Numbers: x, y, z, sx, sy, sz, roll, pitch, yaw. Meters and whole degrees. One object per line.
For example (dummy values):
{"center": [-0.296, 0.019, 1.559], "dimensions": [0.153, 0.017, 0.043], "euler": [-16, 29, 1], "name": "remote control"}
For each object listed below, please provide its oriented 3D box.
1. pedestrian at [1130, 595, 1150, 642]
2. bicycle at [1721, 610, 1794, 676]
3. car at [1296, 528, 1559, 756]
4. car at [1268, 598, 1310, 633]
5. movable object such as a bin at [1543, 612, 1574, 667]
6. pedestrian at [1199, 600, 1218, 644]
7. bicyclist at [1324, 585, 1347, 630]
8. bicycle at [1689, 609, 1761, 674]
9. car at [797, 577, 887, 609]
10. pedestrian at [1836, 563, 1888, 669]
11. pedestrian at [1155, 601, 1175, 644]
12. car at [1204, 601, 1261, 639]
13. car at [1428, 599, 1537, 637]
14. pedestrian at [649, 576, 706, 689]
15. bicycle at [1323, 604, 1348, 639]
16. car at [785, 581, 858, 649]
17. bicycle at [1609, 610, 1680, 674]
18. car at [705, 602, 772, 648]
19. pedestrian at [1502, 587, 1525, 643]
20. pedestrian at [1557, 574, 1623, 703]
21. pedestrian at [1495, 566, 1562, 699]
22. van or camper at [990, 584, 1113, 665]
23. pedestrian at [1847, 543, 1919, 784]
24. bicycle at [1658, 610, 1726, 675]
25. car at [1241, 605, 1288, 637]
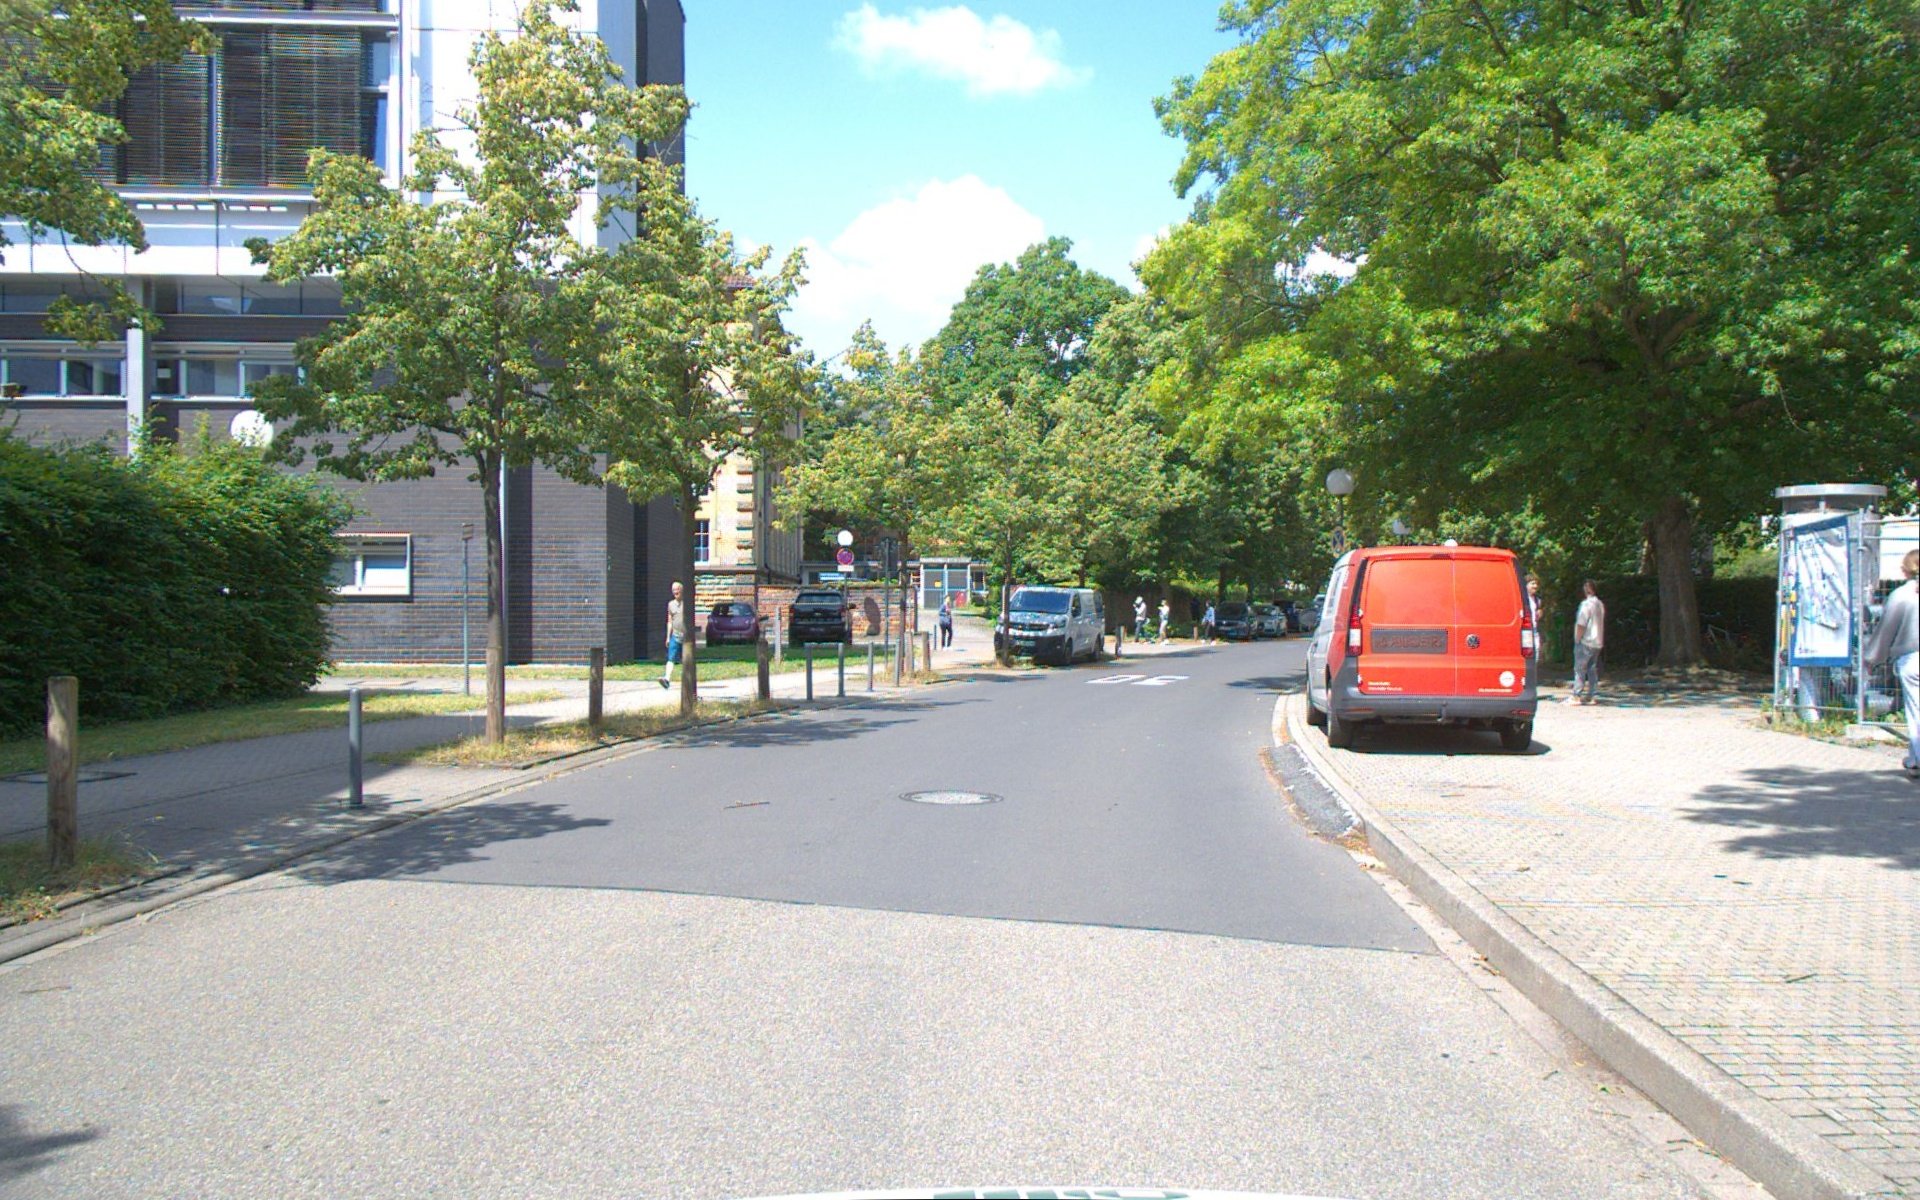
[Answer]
{"center": [6.534, 0.683, 60.081], "dimensions": [0.614, 1.692, 0.602], "euler": [0, 0, -5], "name": "pedestrian"}
{"center": [14.271, 0.746, 29.643], "dimensions": [0.488, 1.138, 1.872], "euler": [0, 0, 3], "name": "bicycle"}
{"center": [4.457, 0.363, 16.488], "dimensions": [1.809, 1.924, 4.894], "euler": [-1, 0, 7], "name": "car"}
{"center": [16.650, 0.761, 83.574], "dimensions": [1.582, 1.708, 4.002], "euler": [0, 0, 18], "name": "car"}
{"center": [12.153, 0.800, 33.605], "dimensions": [0.479, 1.091, 0.505], "euler": [0, 0, 5], "name": "movable object such as a bin"}
{"center": [9.112, 0.805, 60.747], "dimensions": [0.489, 1.613, 0.488], "euler": [0, 0, -33], "name": "pedestrian"}
{"center": [11.052, 0.225, 48.653], "dimensions": [0.596, 1.318, 0.611], "euler": [0, 0, 18], "name": "bicyclist"}
{"center": [13.754, 0.731, 29.777], "dimensions": [0.488, 1.138, 1.937], "euler": [0, 0, 3], "name": "bicycle"}
{"center": [-5.685, -0.336, 79.709], "dimensions": [4.027, 1.543, 1.746], "euler": [0, 0, -20], "name": "car"}
{"center": [16.002, 0.282, 29.354], "dimensions": [0.531, 1.869, 0.762], "euler": [0, 0, 4], "name": "pedestrian"}
{"center": [7.303, 0.800, 58.912], "dimensions": [0.574, 1.554, 0.492], "euler": [0, 0, -14], "name": "pedestrian"}
{"center": [11.262, 0.802, 68.158], "dimensions": [1.723, 1.548, 4.113], "euler": [0, 0, 18], "name": "car"}
{"center": [22.579, 0.780, 71.434], "dimensions": [4.392, 1.552, 1.811], "euler": [-1, -1, 20], "name": "car"}
{"center": [-4.559, 0.519, 26.732], "dimensions": [0.571, 1.795, 0.912], "euler": [0, 0, 16], "name": "pedestrian"}
{"center": [11.034, 0.633, 48.591], "dimensions": [0.601, 1.018, 1.424], "euler": [0, 0, 18], "name": "bicycle"}
{"center": [-4.228, 0.443, 50.887], "dimensions": [2.132, 1.959, 5.181], "euler": [0, 0, -4], "name": "car"}
{"center": [12.662, 0.758, 30.643], "dimensions": [0.606, 1.138, 1.872], "euler": [0, 0, 3], "name": "bicycle"}
{"center": [-6.754, 0.740, 50.731], "dimensions": [1.781, 1.347, 3.765], "euler": [0, 0, -3], "name": "car"}
{"center": [19.053, 0.503, 56.945], "dimensions": [0.658, 1.905, 0.791], "euler": [0, 0, 27], "name": "pedestrian"}
{"center": [8.680, 0.526, 22.776], "dimensions": [0.738, 1.740, 0.556], "euler": [0, -1, -38], "name": "pedestrian"}
{"center": [8.066, 0.452, 23.478], "dimensions": [0.716, 1.853, 0.621], "euler": [0, -1, -38], "name": "pedestrian"}
{"center": [2.464, 0.595, 42.950], "dimensions": [1.912, 1.957, 5.423], "euler": [1, 0, 17], "name": "van or camper"}
{"center": [6.815, 0.436, 11.707], "dimensions": [0.698, 1.660, 0.712], "euler": [0, 0, 3], "name": "pedestrian"}
{"center": [13.215, 0.749, 29.915], "dimensions": [0.488, 1.138, 1.872], "euler": [0, 0, 3], "name": "bicycle"}
{"center": [13.888, 0.934, 75.333], "dimensions": [1.582, 1.412, 4.002], "euler": [0, 0, 18], "name": "car"}
